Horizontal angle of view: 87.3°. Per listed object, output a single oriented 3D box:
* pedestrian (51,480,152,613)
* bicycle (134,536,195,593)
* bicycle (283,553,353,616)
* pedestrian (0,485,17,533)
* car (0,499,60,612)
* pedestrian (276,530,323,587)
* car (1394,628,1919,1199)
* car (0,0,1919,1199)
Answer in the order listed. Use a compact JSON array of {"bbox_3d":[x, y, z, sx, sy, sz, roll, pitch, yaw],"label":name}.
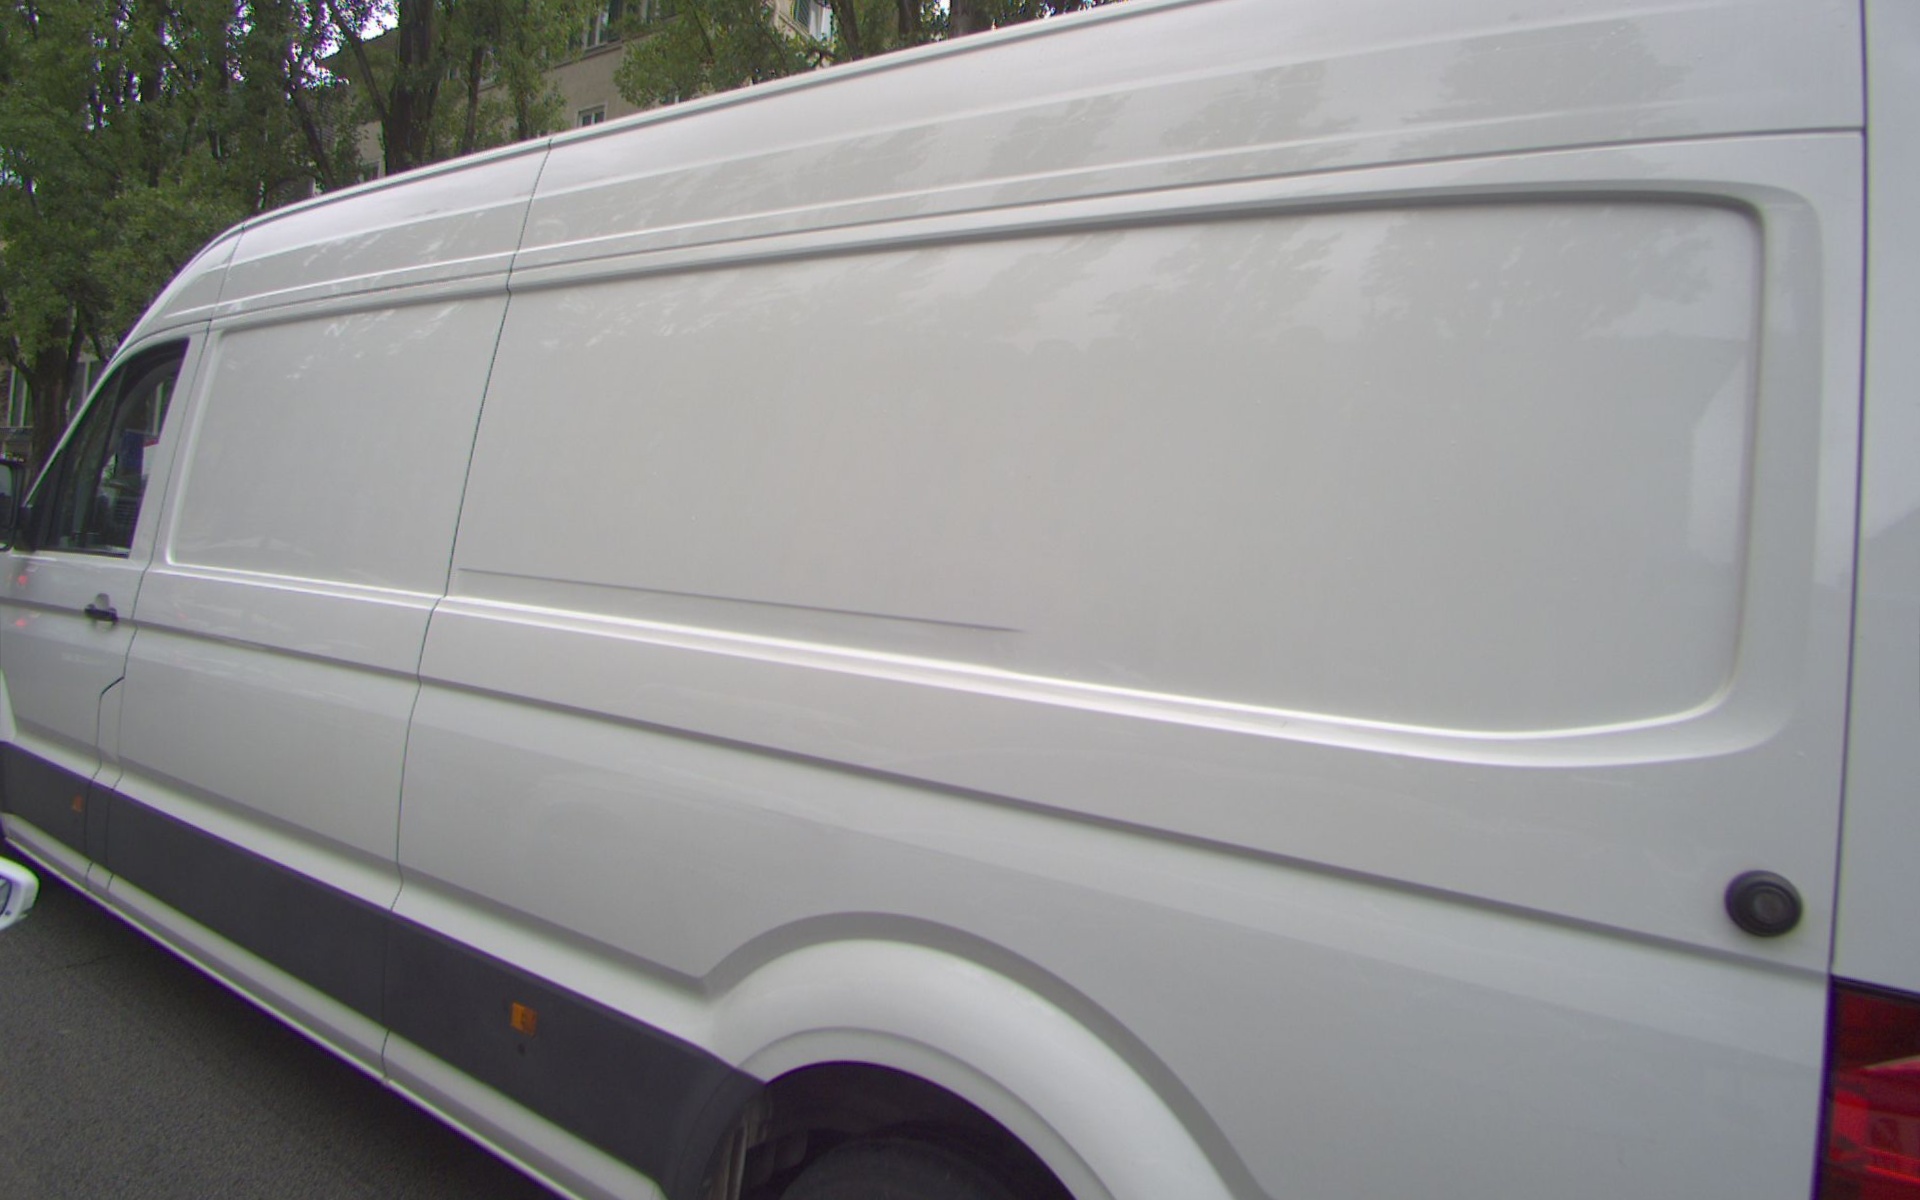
[{"bbox_3d":[-12.610,-0.772,14.804,0.820,1.795,0.864,6,1,-28],"label":"pedestrian"},{"bbox_3d":[-15.635,-0.702,19.763,1.429,1.009,0.349,6,2,28],"label":"bicycle"},{"bbox_3d":[-11.609,-0.284,18.181,1.429,1.009,0.349,6,2,28],"label":"bicycle"},{"bbox_3d":[-35.015,-3.333,36.632,0.745,1.707,0.674,6,1,27],"label":"pedestrian"},{"bbox_3d":[-14.719,-0.800,14.561,3.465,1.510,1.543,6,-1,33],"label":"car"},{"bbox_3d":[-16.902,-1.071,25.748,0.787,1.340,0.639,7,1,31],"label":"pedestrian"},{"bbox_3d":[3.965,1.211,3.286,4.372,1.657,1.807,6,-1,30],"label":"car"},{"bbox_3d":[-1.256,0.122,3.206,6.619,2.522,2.066,7,-1,32],"label":"car"}]
